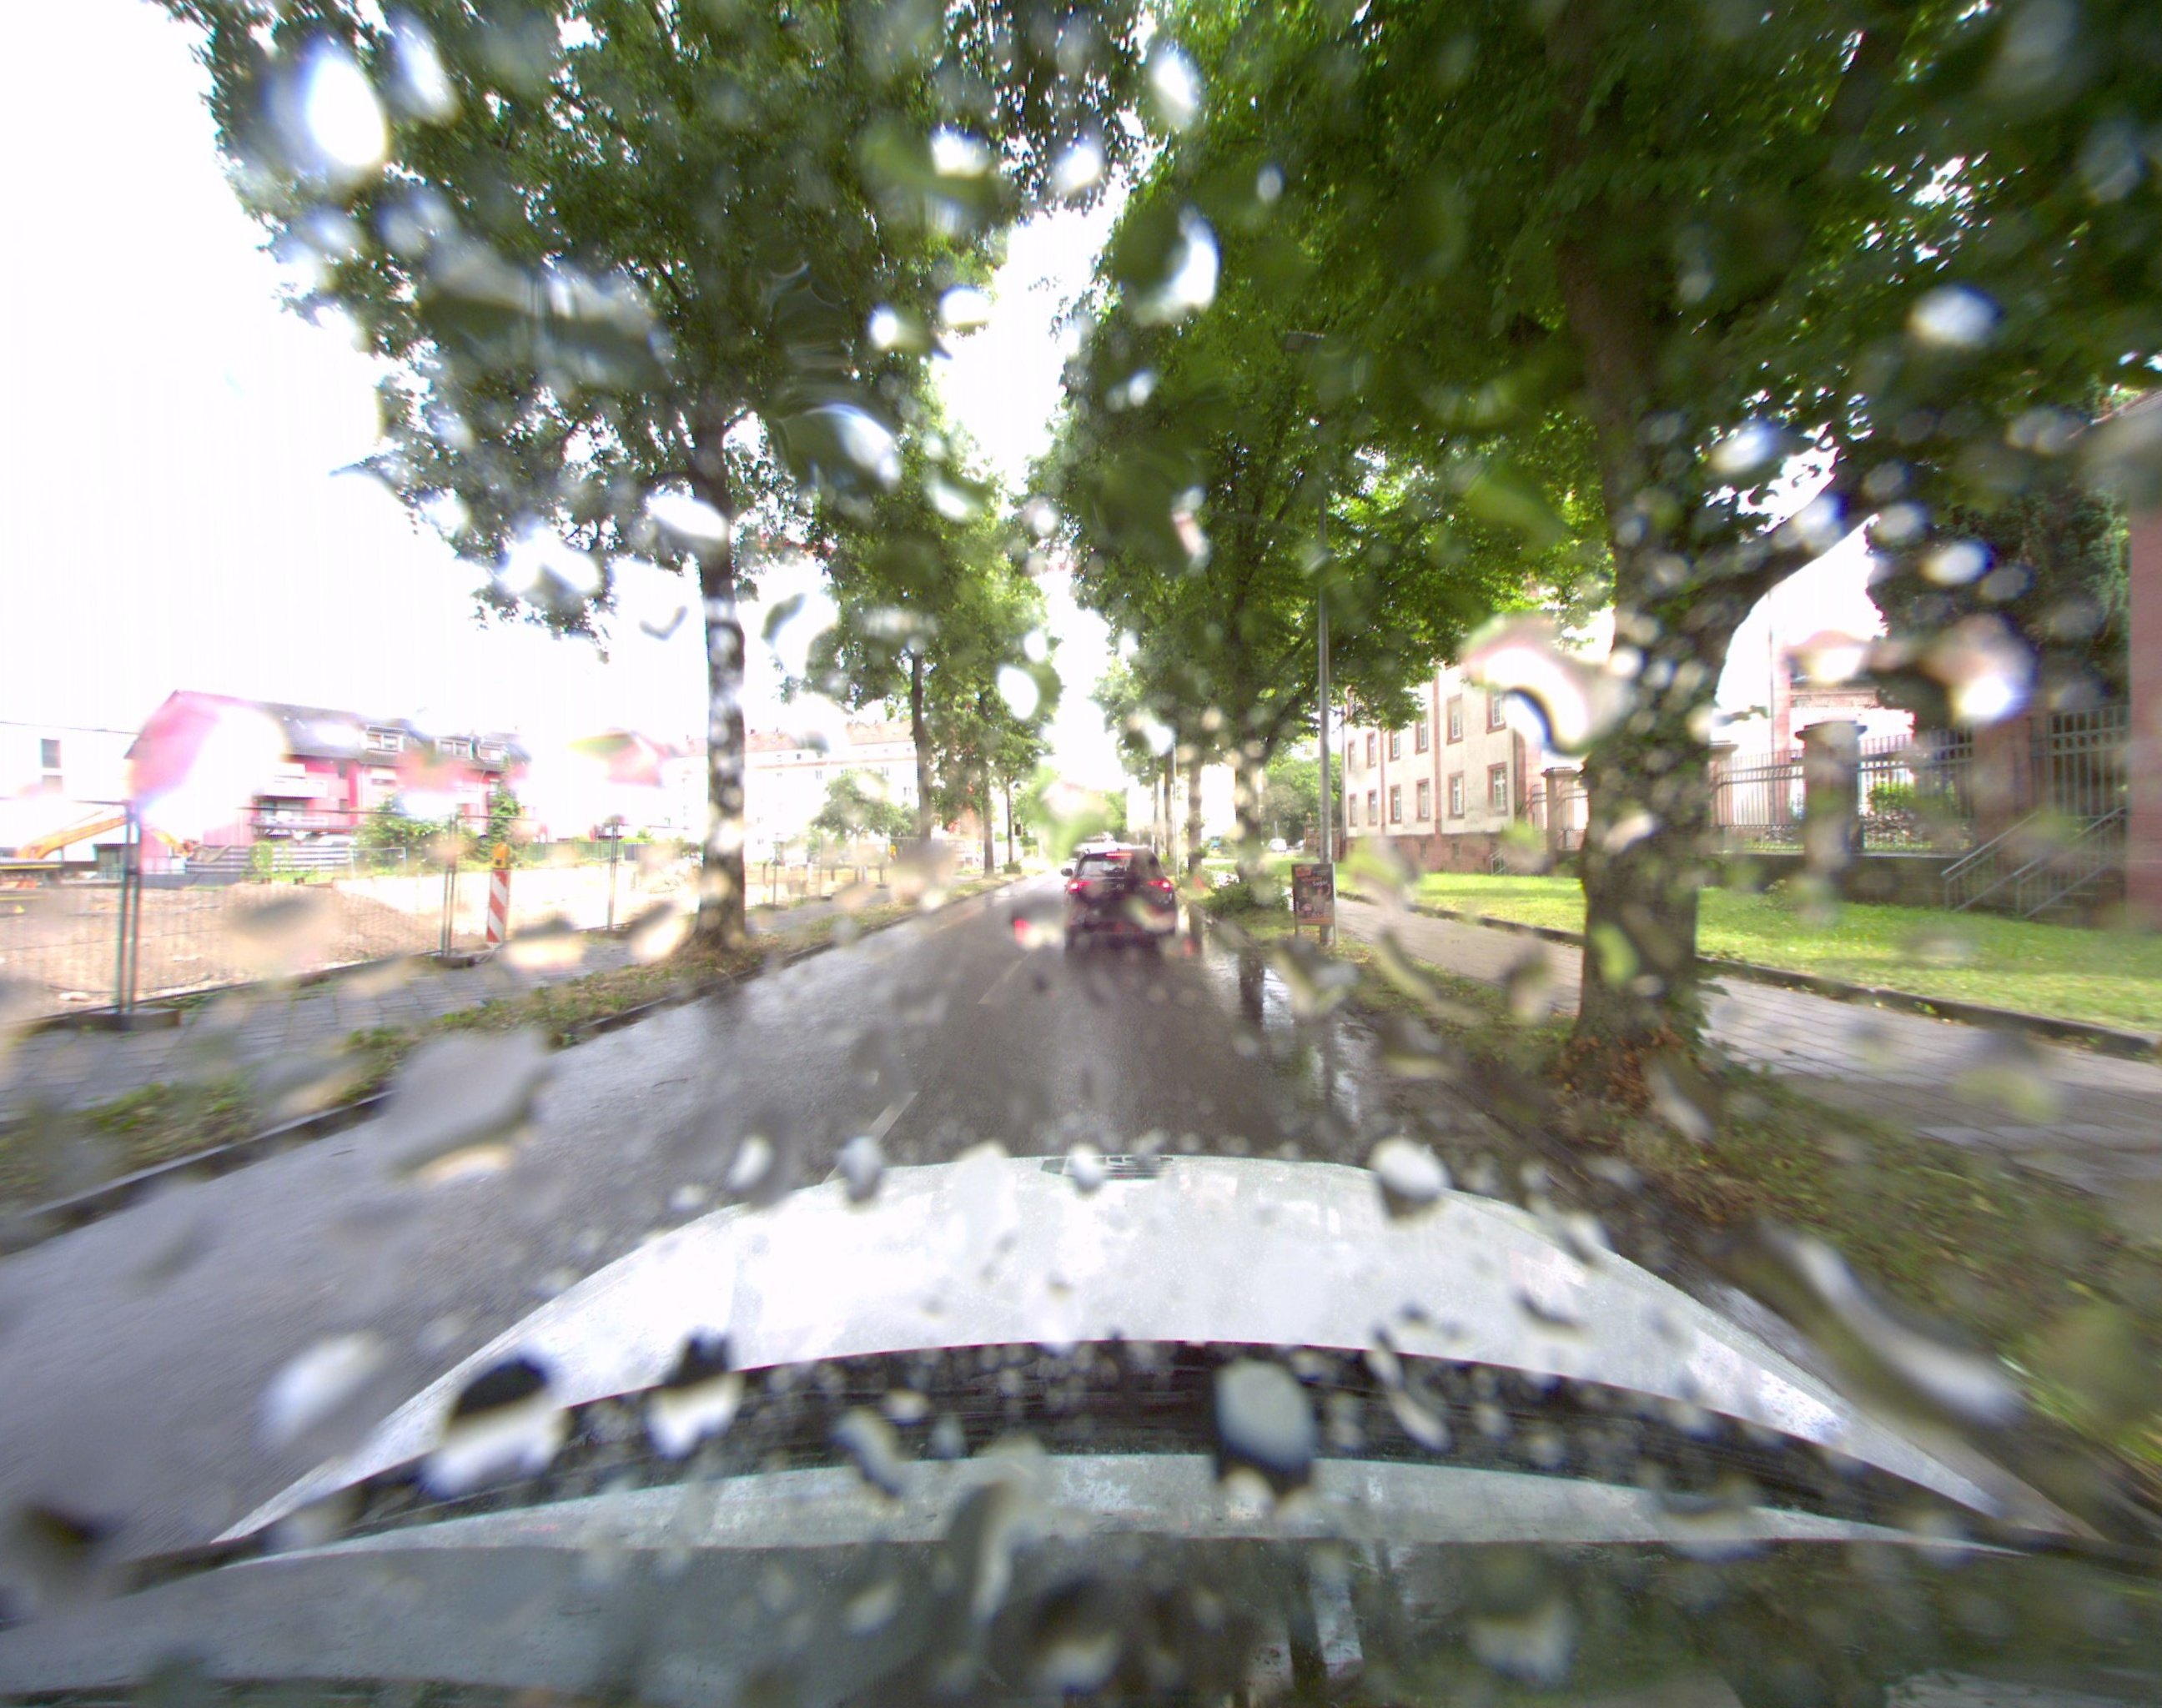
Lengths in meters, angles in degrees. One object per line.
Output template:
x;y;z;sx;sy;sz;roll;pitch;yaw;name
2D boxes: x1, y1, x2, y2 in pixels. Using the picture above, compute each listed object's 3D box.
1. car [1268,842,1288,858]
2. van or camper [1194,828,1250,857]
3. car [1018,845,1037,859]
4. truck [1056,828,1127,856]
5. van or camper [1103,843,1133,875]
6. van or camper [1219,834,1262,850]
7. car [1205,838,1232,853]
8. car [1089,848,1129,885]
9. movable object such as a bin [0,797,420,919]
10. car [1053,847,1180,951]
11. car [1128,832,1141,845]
22.443;-0.500;92.940;1.732;1.684;3.880;-4;0;8;car
13.772;-1.143;79.695;5.015;2.595;2.168;-2;0;0;van or camper
-6.809;-0.283;104.074;1.582;1.512;3.741;-4;1;8;car
0.951;-1.236;83.198;2.827;2.656;8.149;-2;2;-37;truck
2.405;0.273;52.146;1.811;1.947;4.199;0;1;4;van or camper
18.977;-1.442;97.066;4.855;1.925;2.133;-1;1;2;van or camper
18.118;-1.126;107.142;3.385;1.781;1.765;-4;0;11;car
1.478;0.603;41.330;1.671;1.708;3.915;-4;0;5;car
-51.810;-0.036;49.270;6.805;6.043;16.846;0;2;26;movable object such as a bin
0.597;0.656;14.195;1.887;1.522;4.002;-1;1;2;car
8.242;-2.407;125.583;1.986;2.013;4.002;0;0;2;car
